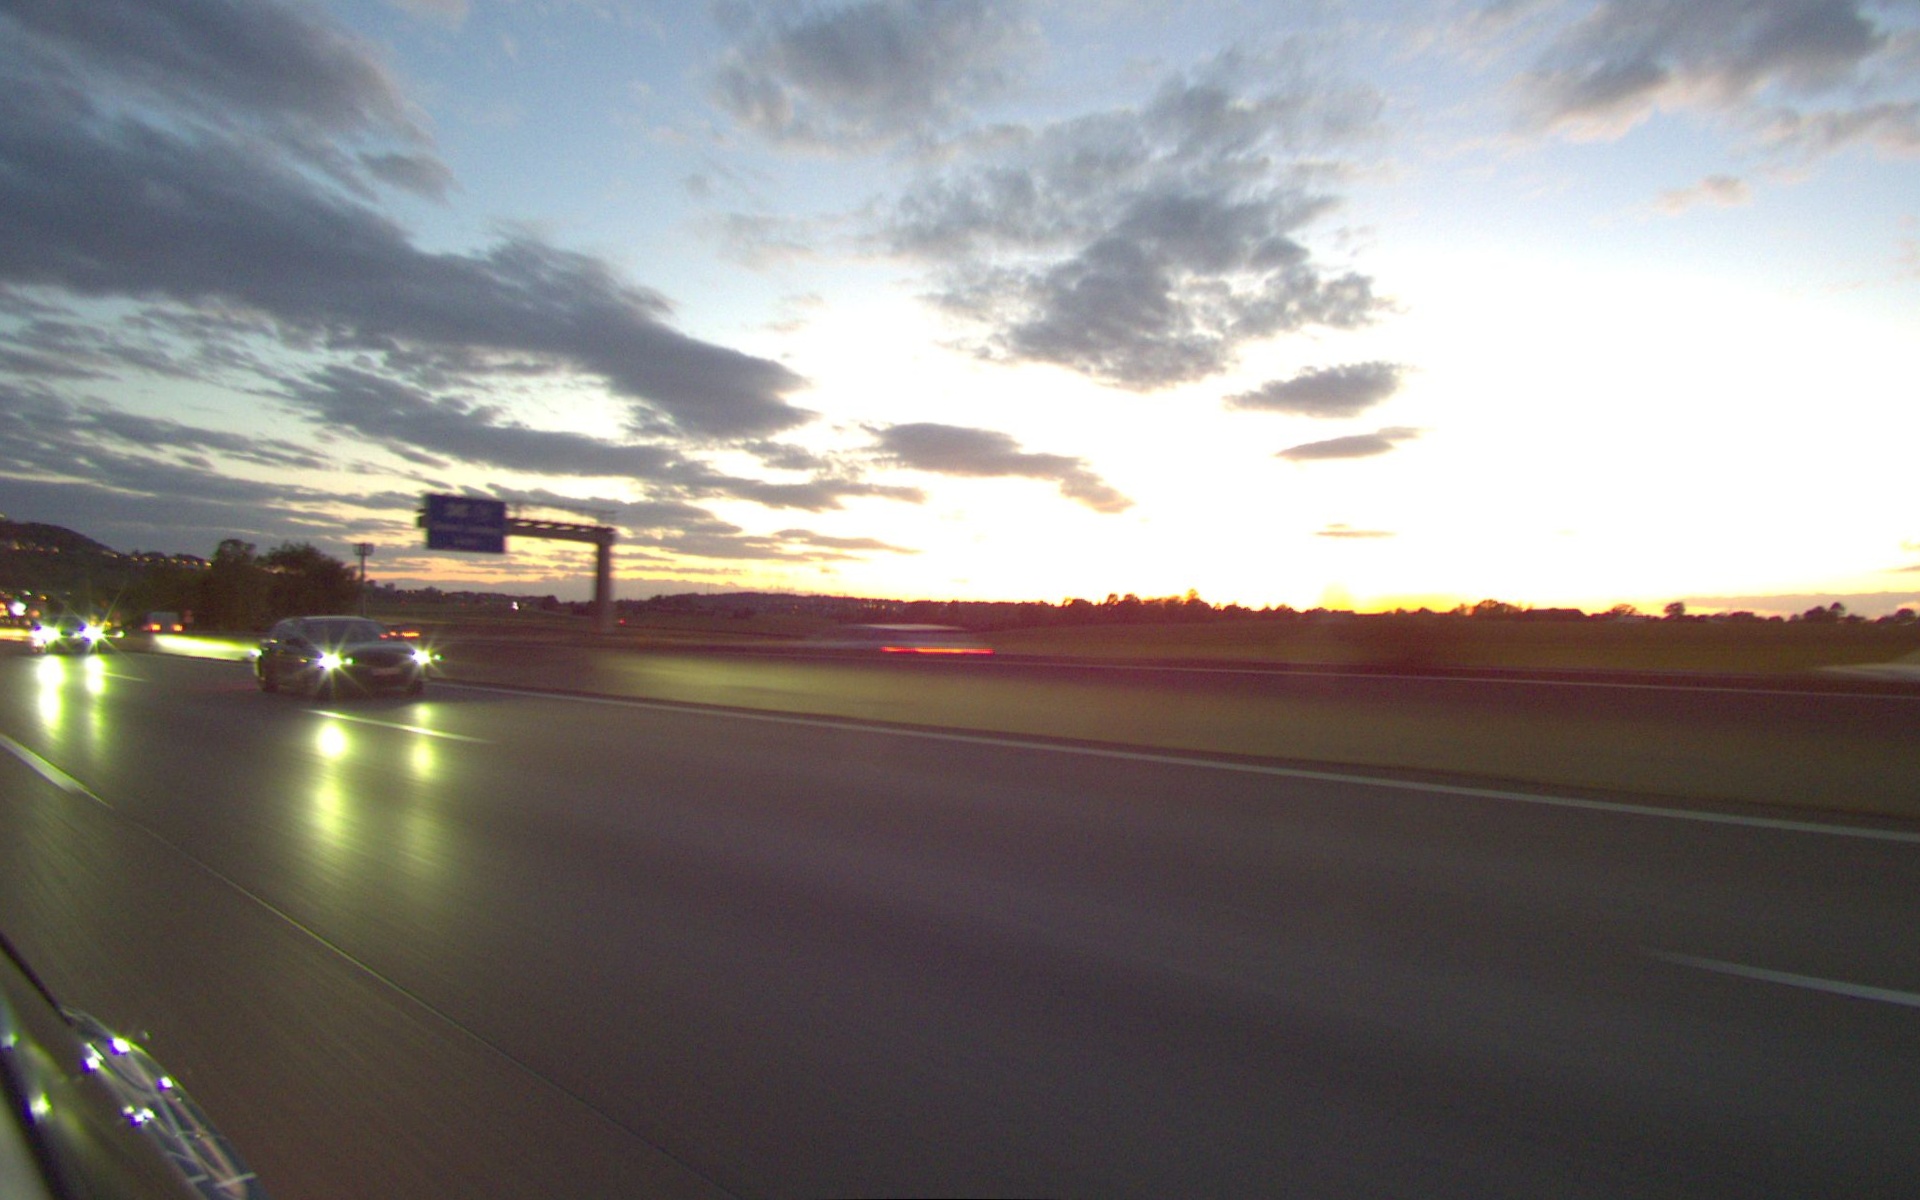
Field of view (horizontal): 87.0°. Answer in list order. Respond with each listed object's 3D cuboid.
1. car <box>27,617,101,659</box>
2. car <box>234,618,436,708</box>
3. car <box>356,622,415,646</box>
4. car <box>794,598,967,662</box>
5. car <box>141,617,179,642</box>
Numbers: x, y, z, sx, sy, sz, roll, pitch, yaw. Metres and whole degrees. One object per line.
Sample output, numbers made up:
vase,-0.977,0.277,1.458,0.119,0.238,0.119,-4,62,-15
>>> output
car,-38.792,1.579,43.761,4.854,1.660,1.795,-1,0,41
car,-12.130,1.100,19.453,5.392,1.448,1.795,-1,0,41
car,-34.625,2.013,60.914,4.550,1.329,1.717,-1,0,42
car,-2.193,0.736,26.779,4.885,1.534,1.642,-1,0,41
car,-80.350,2.901,101.645,5.834,2.405,1.972,-1,0,42
